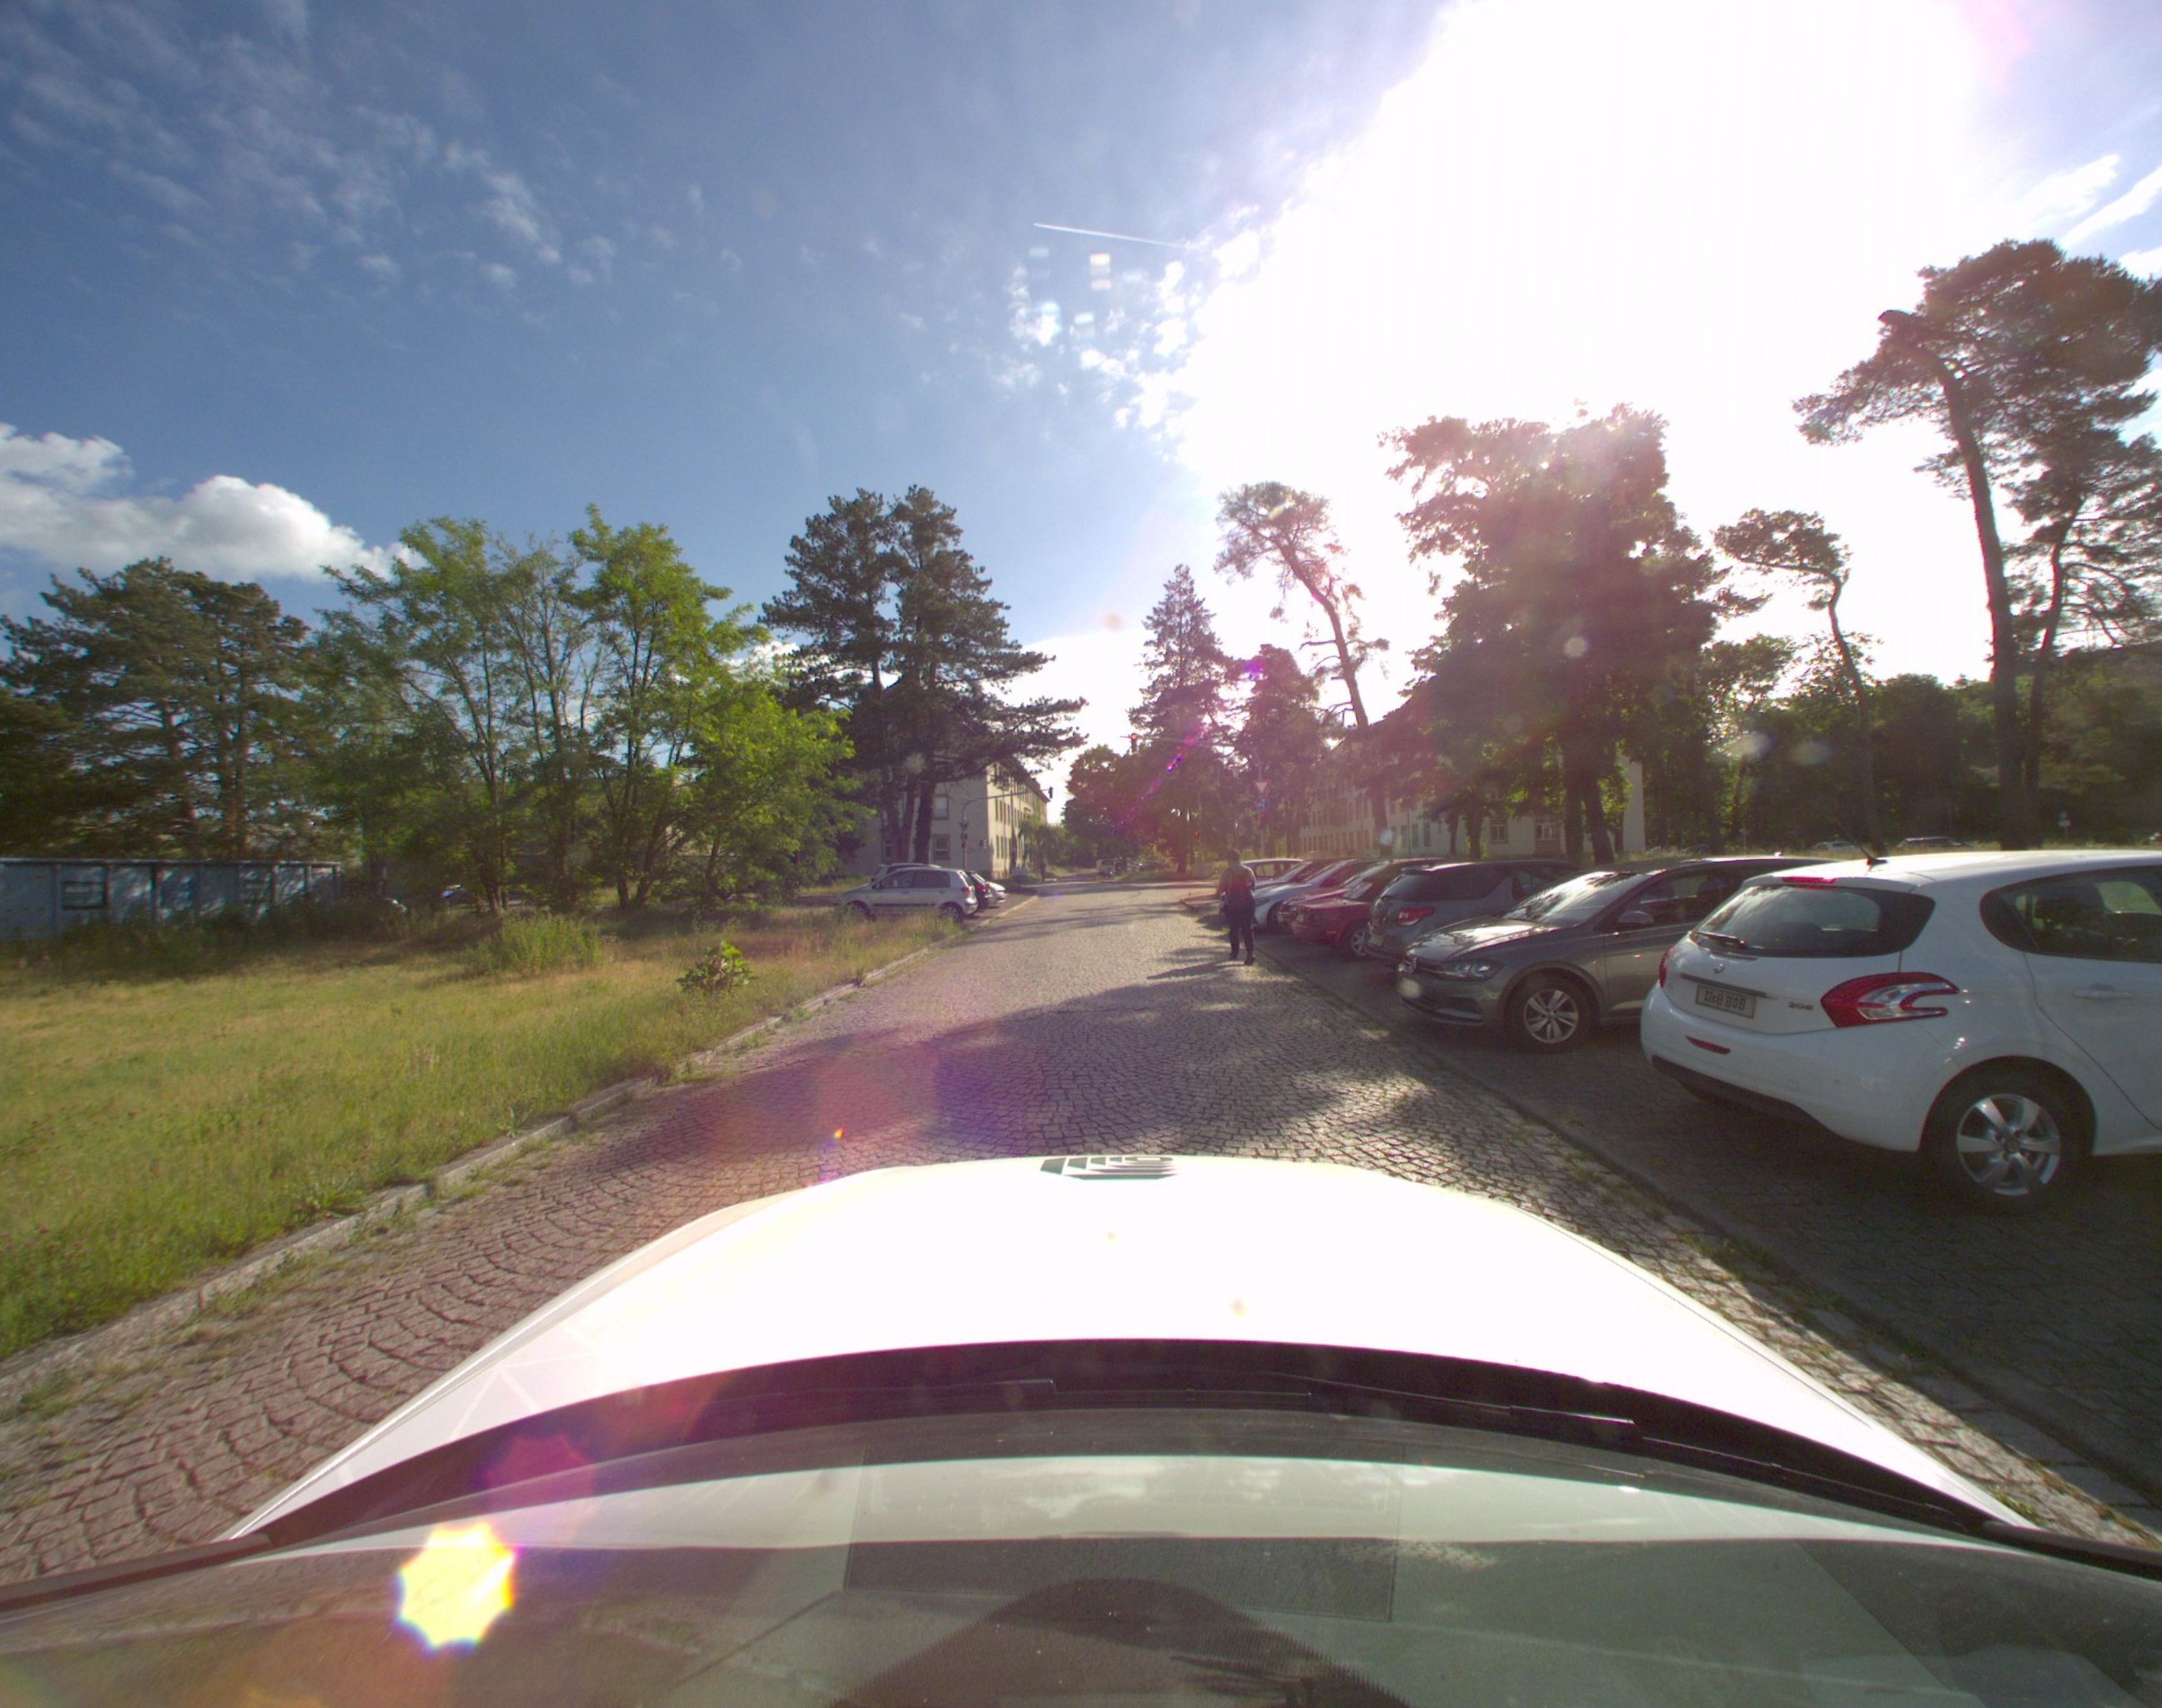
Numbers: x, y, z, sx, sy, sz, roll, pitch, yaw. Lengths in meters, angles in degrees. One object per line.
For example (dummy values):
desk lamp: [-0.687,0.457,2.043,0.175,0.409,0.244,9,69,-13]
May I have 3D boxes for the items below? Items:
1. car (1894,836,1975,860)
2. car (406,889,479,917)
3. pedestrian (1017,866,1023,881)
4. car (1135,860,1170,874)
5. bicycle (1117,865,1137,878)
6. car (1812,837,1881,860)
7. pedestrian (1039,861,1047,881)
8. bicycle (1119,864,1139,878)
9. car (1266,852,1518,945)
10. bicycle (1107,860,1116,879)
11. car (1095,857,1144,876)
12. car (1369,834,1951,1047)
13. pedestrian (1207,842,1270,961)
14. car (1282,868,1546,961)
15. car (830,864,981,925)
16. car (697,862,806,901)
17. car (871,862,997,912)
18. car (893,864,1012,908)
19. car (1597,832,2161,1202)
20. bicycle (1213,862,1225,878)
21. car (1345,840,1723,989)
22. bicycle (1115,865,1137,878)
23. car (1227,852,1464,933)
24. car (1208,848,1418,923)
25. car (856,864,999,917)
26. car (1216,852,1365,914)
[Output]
car: [58.780,-0.414,56.132,3.619,1.498,1.769,-2,-1,4]
car: [-46.345,3.561,59.212,1.856,1.778,4.007,-2,-1,4]
pedestrian: [-6.465,2.028,85.786,0.606,1.560,0.544,0,-1,-5]
car: [8.180,1.483,93.298,3.738,1.580,1.738,-1,-1,-6]
bicycle: [4.040,1.538,72.138,1.723,1.112,0.484,-2,-1,-2]
car: [59.784,-0.432,63.642,3.619,1.671,1.769,-2,-1,4]
pedestrian: [-3.275,1.489,70.637,0.604,1.752,0.630,-1,-1,1]
bicycle: [4.298,1.502,72.815,1.723,1.164,0.560,-2,-1,-2]
car: [5.593,0.780,14.980,3.965,1.448,1.656,-3,-1,1]
bicycle: [2.552,1.273,68.394,0.750,1.580,2.537,-1,-1,1]
car: [4.213,1.340,89.490,5.063,1.918,1.995,-2,-1,-8]
car: [4.727,0.683,7.140,3.765,1.450,1.759,-3,-1,3]
pedestrian: [2.398,0.706,12.510,0.750,1.725,0.829,3,-1,1]
car: [5.013,0.895,12.601,3.447,1.242,1.537,-2,-1,2]
car: [-4.650,1.061,21.984,3.674,1.527,1.698,1,-1,-1]
car: [-15.130,1.257,37.551,4.127,1.608,2.011,-2,-1,2]
car: [-4.863,1.080,27.269,3.866,1.615,1.660,0,-1,0]
car: [-4.678,1.157,30.034,3.966,1.496,1.776,0,0,6]
car: [5.021,0.660,4.199,3.631,1.492,1.635,-2,-1,2]
bicycle: [10.119,1.126,59.543,0.717,1.115,2.592,-2,-1,12]
car: [5.363,0.689,10.003,3.649,1.455,1.667,-4,-1,1]
bicycle: [3.953,1.533,71.596,1.829,1.112,0.495,-2,-1,-2]
car: [5.460,0.773,17.225,4.384,1.388,1.789,-3,-1,0]
car: [5.623,0.749,20.168,4.606,1.455,1.869,-4,-1,-1]
car: [-4.579,1.080,24.648,3.924,1.445,1.691,1,-1,0]
car: [5.723,0.778,22.580,3.659,1.443,1.666,-3,-1,1]
